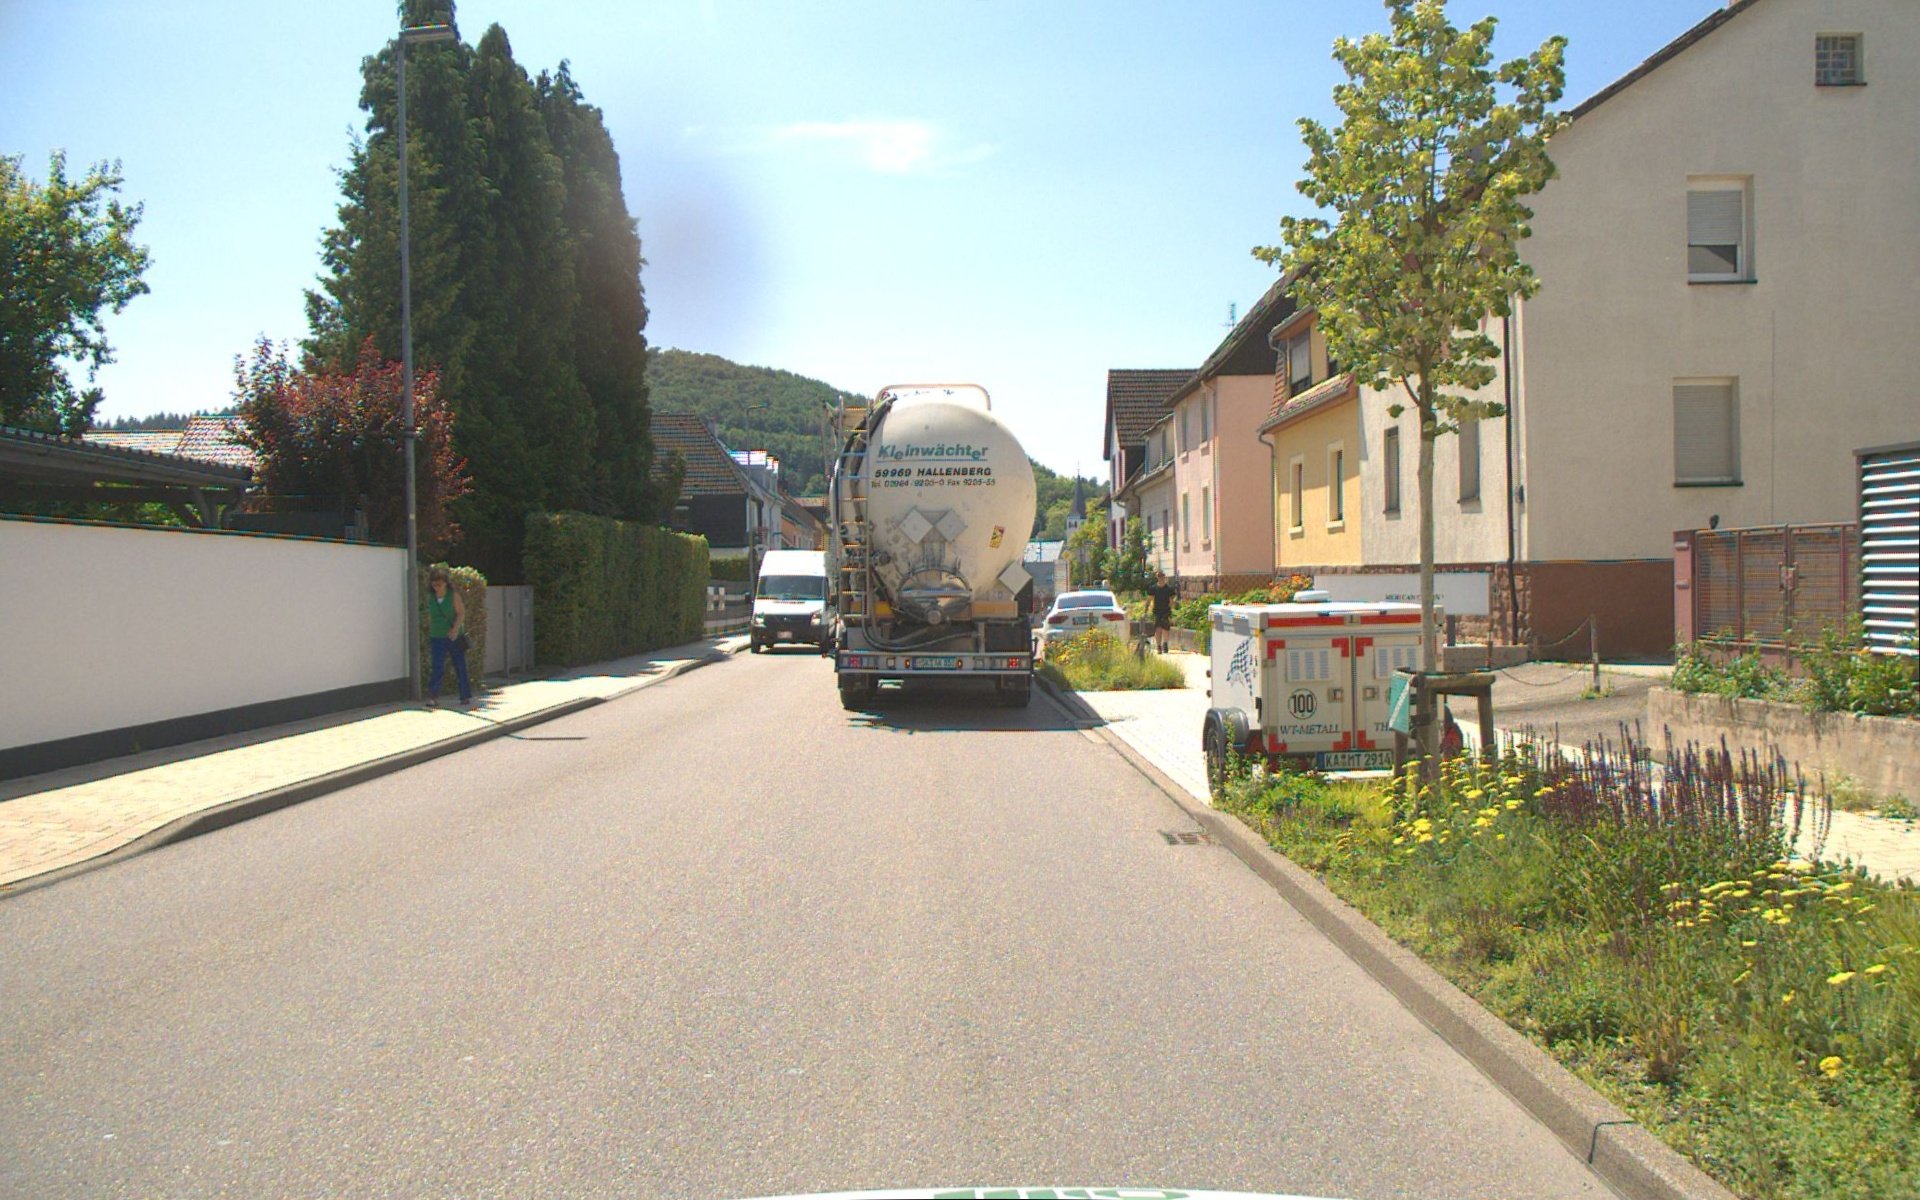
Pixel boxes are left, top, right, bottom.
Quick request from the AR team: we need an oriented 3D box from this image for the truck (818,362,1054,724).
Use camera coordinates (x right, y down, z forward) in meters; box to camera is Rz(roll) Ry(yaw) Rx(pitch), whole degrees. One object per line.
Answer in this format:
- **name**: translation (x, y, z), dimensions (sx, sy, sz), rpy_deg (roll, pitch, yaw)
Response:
- **truck**: translation (-0.434, -0.672, 24.362), dimensions (2.694, 4.127, 10.885), rpy_deg (0, 0, -2)

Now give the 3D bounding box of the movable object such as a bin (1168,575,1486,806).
- **movable object such as a bin**: translation (2.546, 0.598, 12.130), dimensions (1.540, 1.441, 3.040), rpy_deg (-1, -1, -2)

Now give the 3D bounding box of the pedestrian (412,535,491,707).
- **pedestrian**: translation (-6.194, 0.259, 20.182), dimensions (0.706, 2.049, 0.804), rpy_deg (1, -1, -2)

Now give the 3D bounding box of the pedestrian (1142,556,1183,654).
- **pedestrian**: translation (4.327, 0.116, 35.360), dimensions (0.731, 2.049, 1.033), rpy_deg (1, -1, 0)

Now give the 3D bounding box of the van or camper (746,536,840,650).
- **van or camper**: translation (-4.302, -0.137, 43.457), dimensions (1.996, 2.761, 5.822), rpy_deg (1, -1, -2)

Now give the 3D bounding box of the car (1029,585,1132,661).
- **car**: translation (2.538, 0.517, 35.691), dimensions (1.721, 1.442, 4.631), rpy_deg (-3, -1, -1)
